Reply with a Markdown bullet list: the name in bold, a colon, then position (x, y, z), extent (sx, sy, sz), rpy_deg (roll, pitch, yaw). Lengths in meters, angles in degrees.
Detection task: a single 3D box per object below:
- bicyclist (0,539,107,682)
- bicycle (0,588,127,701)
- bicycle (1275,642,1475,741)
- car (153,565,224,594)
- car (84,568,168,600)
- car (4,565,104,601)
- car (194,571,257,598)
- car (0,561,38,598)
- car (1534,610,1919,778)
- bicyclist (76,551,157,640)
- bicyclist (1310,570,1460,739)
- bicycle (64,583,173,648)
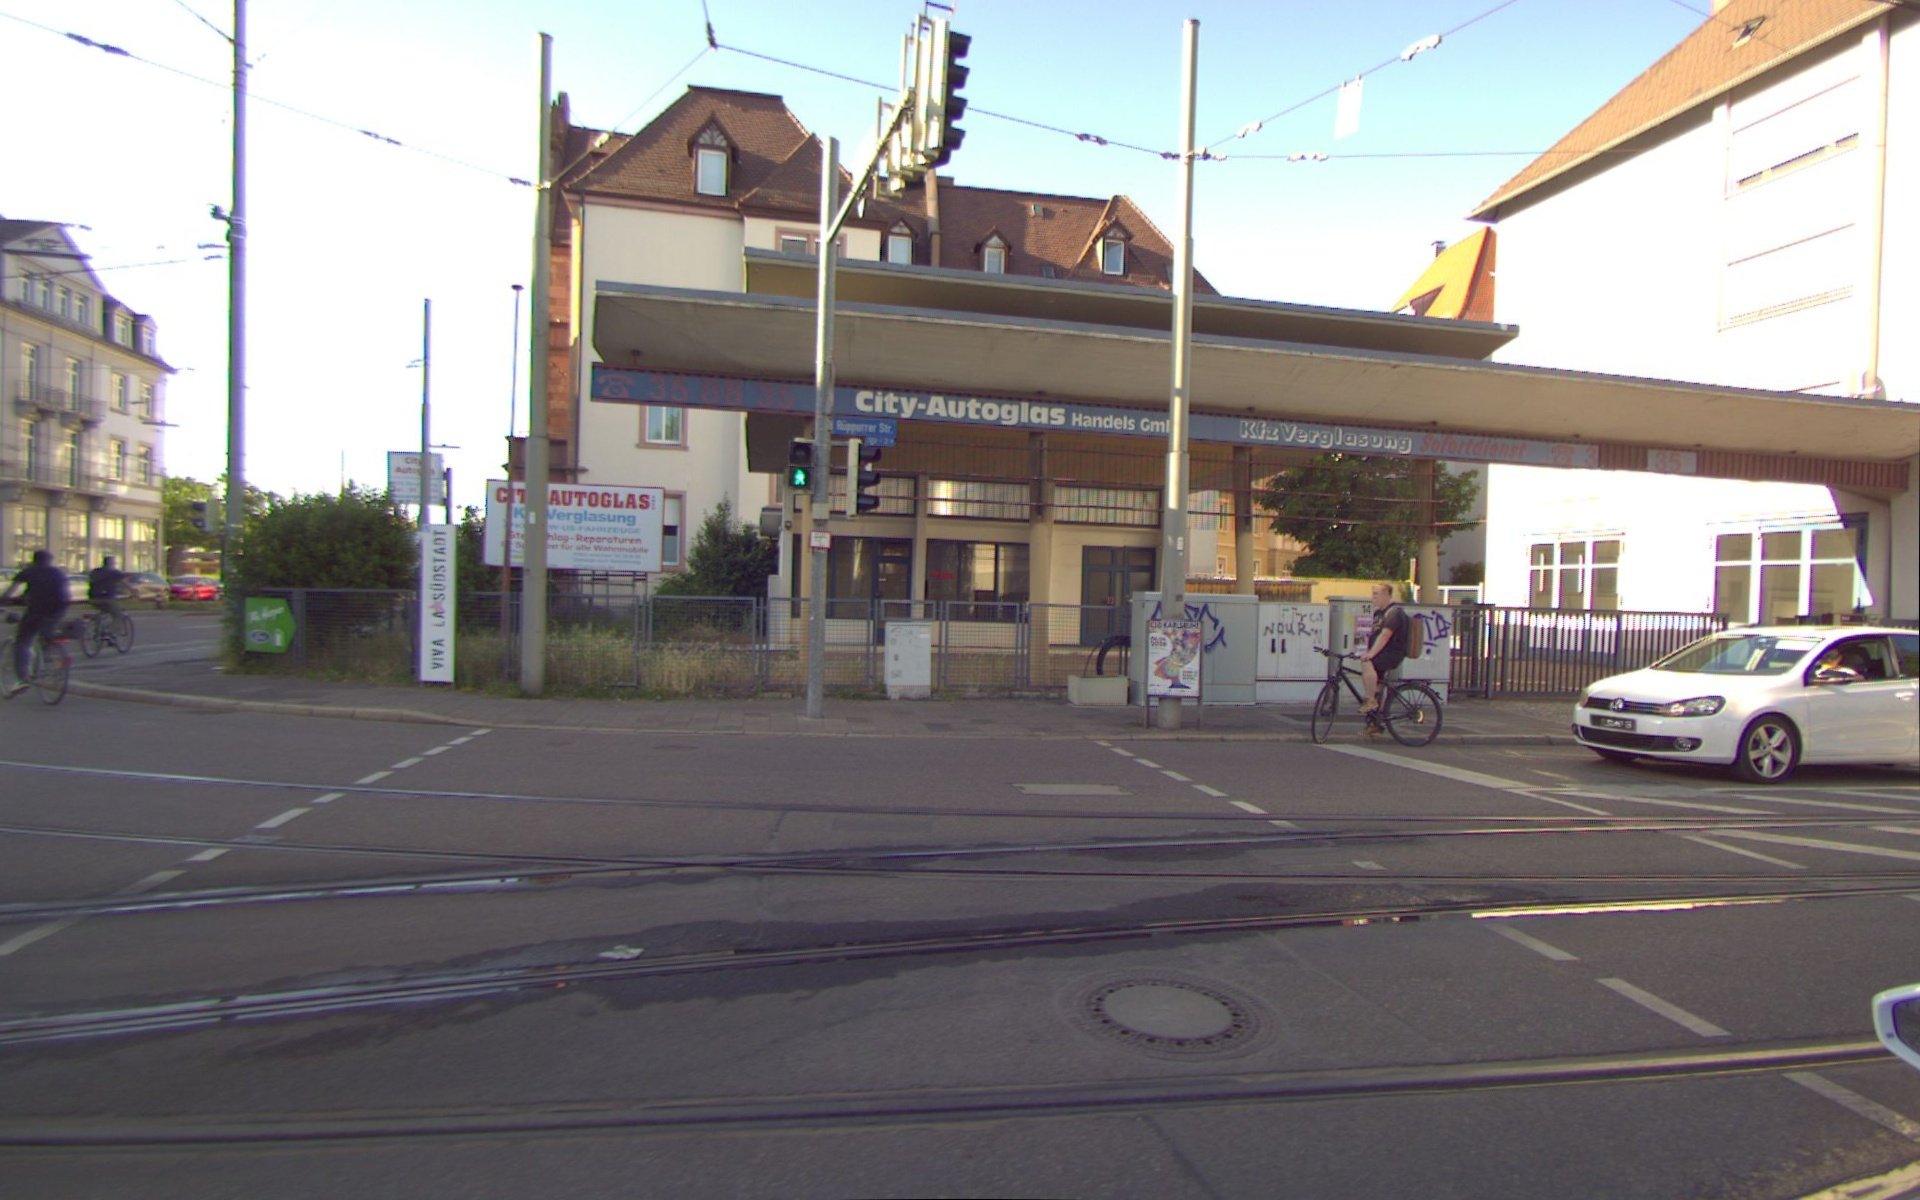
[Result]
- **bicyclist**: position (-10.518, 0.100, 11.475), extent (1.032, 1.546, 0.877), rpy_deg (2, 1, 30)
- **bicycle**: position (-10.521, 0.461, 11.488), extent (2.028, 1.140, 0.894), rpy_deg (2, 1, 31)
- **bicycle**: position (4.669, 1.020, 11.340), extent (2.012, 1.031, 0.726), rpy_deg (1, 0, -12)
- **car**: position (-44.505, -1.185, 58.038), extent (1.695, 1.573, 3.990), rpy_deg (1, 1, -13)
- **car**: position (-43.286, -0.832, 52.225), extent (1.695, 1.573, 3.990), rpy_deg (1, 1, -13)
- **car**: position (-42.482, -0.776, 47.214), extent (1.695, 1.573, 3.990), rpy_deg (1, 1, -13)
- **car**: position (-45.719, -0.955, 62.619), extent (1.695, 1.573, 3.990), rpy_deg (1, 0, -13)
- **car**: position (-41.296, -0.881, 42.224), extent (1.809, 1.573, 4.263), rpy_deg (1, 1, -13)
- **car**: position (8.248, 0.889, 10.124), extent (4.116, 1.477, 1.792), rpy_deg (2, -1, -12)
- **bicyclist**: position (-15.235, -0.083, 18.171), extent (0.824, 1.545, 0.988), rpy_deg (2, 0, -22)
- **bicyclist**: position (4.799, 0.592, 11.387), extent (1.233, 1.811, 0.908), rpy_deg (1, 1, -17)
- **bicycle**: position (-15.308, 0.258, 18.332), extent (0.760, 1.100, 1.865), rpy_deg (2, 1, -14)
